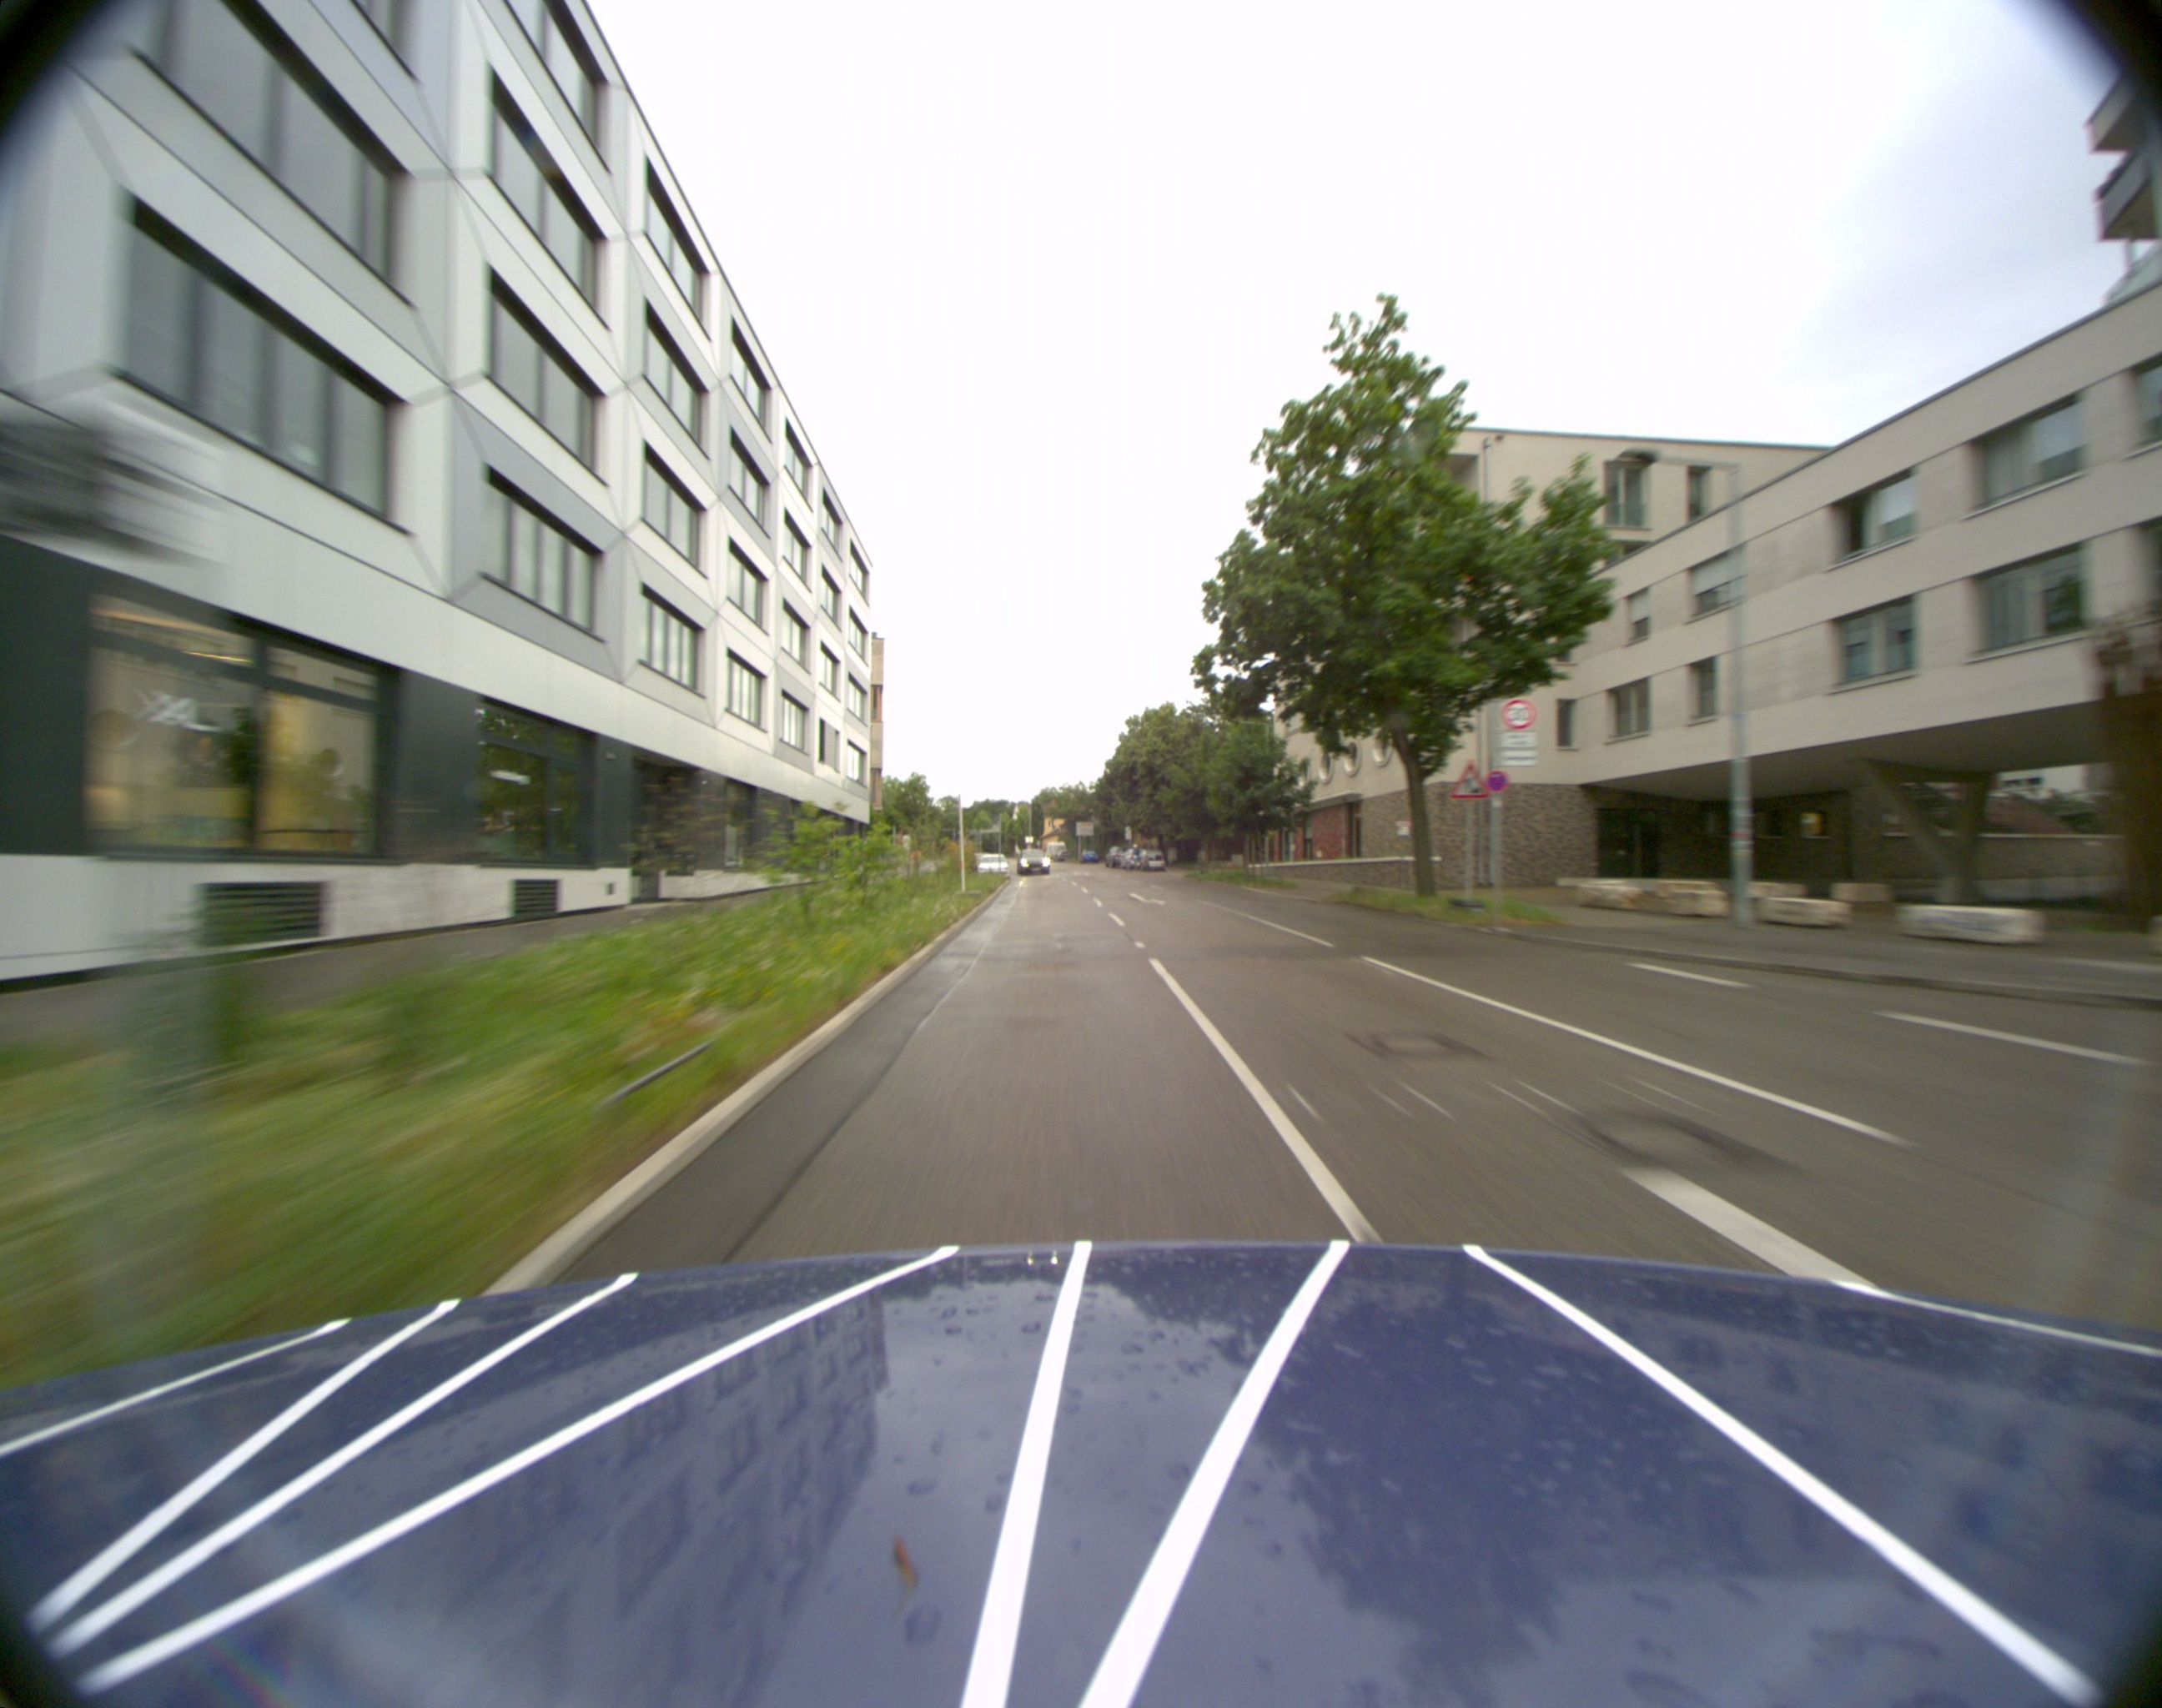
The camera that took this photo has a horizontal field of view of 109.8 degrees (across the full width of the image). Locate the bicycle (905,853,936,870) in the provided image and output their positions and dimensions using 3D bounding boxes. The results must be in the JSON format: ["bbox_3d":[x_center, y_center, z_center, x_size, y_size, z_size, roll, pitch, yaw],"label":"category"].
[{"bbox_3d":[-10.366,0.465,48.989,2.475,1.015,0.627,2,2,42],"label":"bicycle"}]

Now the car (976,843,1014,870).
[{"bbox_3d":[-4.982,0.126,44.063,2.046,1.456,4.499,-1,1,-7],"label":"car"}]

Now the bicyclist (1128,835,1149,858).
[{"bbox_3d":[3.885,-0.522,51.276,1.198,1.514,0.805,0,2,28],"label":"bicyclist"}]

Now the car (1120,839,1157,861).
[{"bbox_3d":[4.378,-0.340,58.695,1.996,1.584,4.485,-1,2,-7],"label":"car"}]

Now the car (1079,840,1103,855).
[{"bbox_3d":[1.066,-0.715,81.111,2.000,1.462,4.181,-1,2,-8],"label":"car"}]

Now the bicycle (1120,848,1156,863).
[{"bbox_3d":[3.859,0.091,51.320,2.248,0.973,0.805,0,2,26],"label":"bicycle"}]

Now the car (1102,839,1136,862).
[{"bbox_3d":[3.170,-0.346,64.288,2.000,1.776,5.406,-1,2,-6],"label":"car"}]

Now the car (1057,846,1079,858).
[{"bbox_3d":[-1.644,-0.267,96.330,2.000,1.504,4.417,-1,2,-12],"label":"car"}]

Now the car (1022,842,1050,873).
[{"bbox_3d":[-3.047,0.170,51.850,1.848,1.961,4.341,-1,2,-3],"label":"car"}]

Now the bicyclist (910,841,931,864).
[{"bbox_3d":[-10.351,-0.103,48.988,1.073,1.494,0.842,1,2,42],"label":"bicyclist"}]

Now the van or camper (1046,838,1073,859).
[{"bbox_3d":[-2.948,-0.730,101.536,2.349,2.749,6.134,-1,1,-13],"label":"van or camper"}]

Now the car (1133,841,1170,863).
[{"bbox_3d":[4.970,-0.179,54.198,1.885,1.454,3.844,-1,2,-7],"label":"car"}]
